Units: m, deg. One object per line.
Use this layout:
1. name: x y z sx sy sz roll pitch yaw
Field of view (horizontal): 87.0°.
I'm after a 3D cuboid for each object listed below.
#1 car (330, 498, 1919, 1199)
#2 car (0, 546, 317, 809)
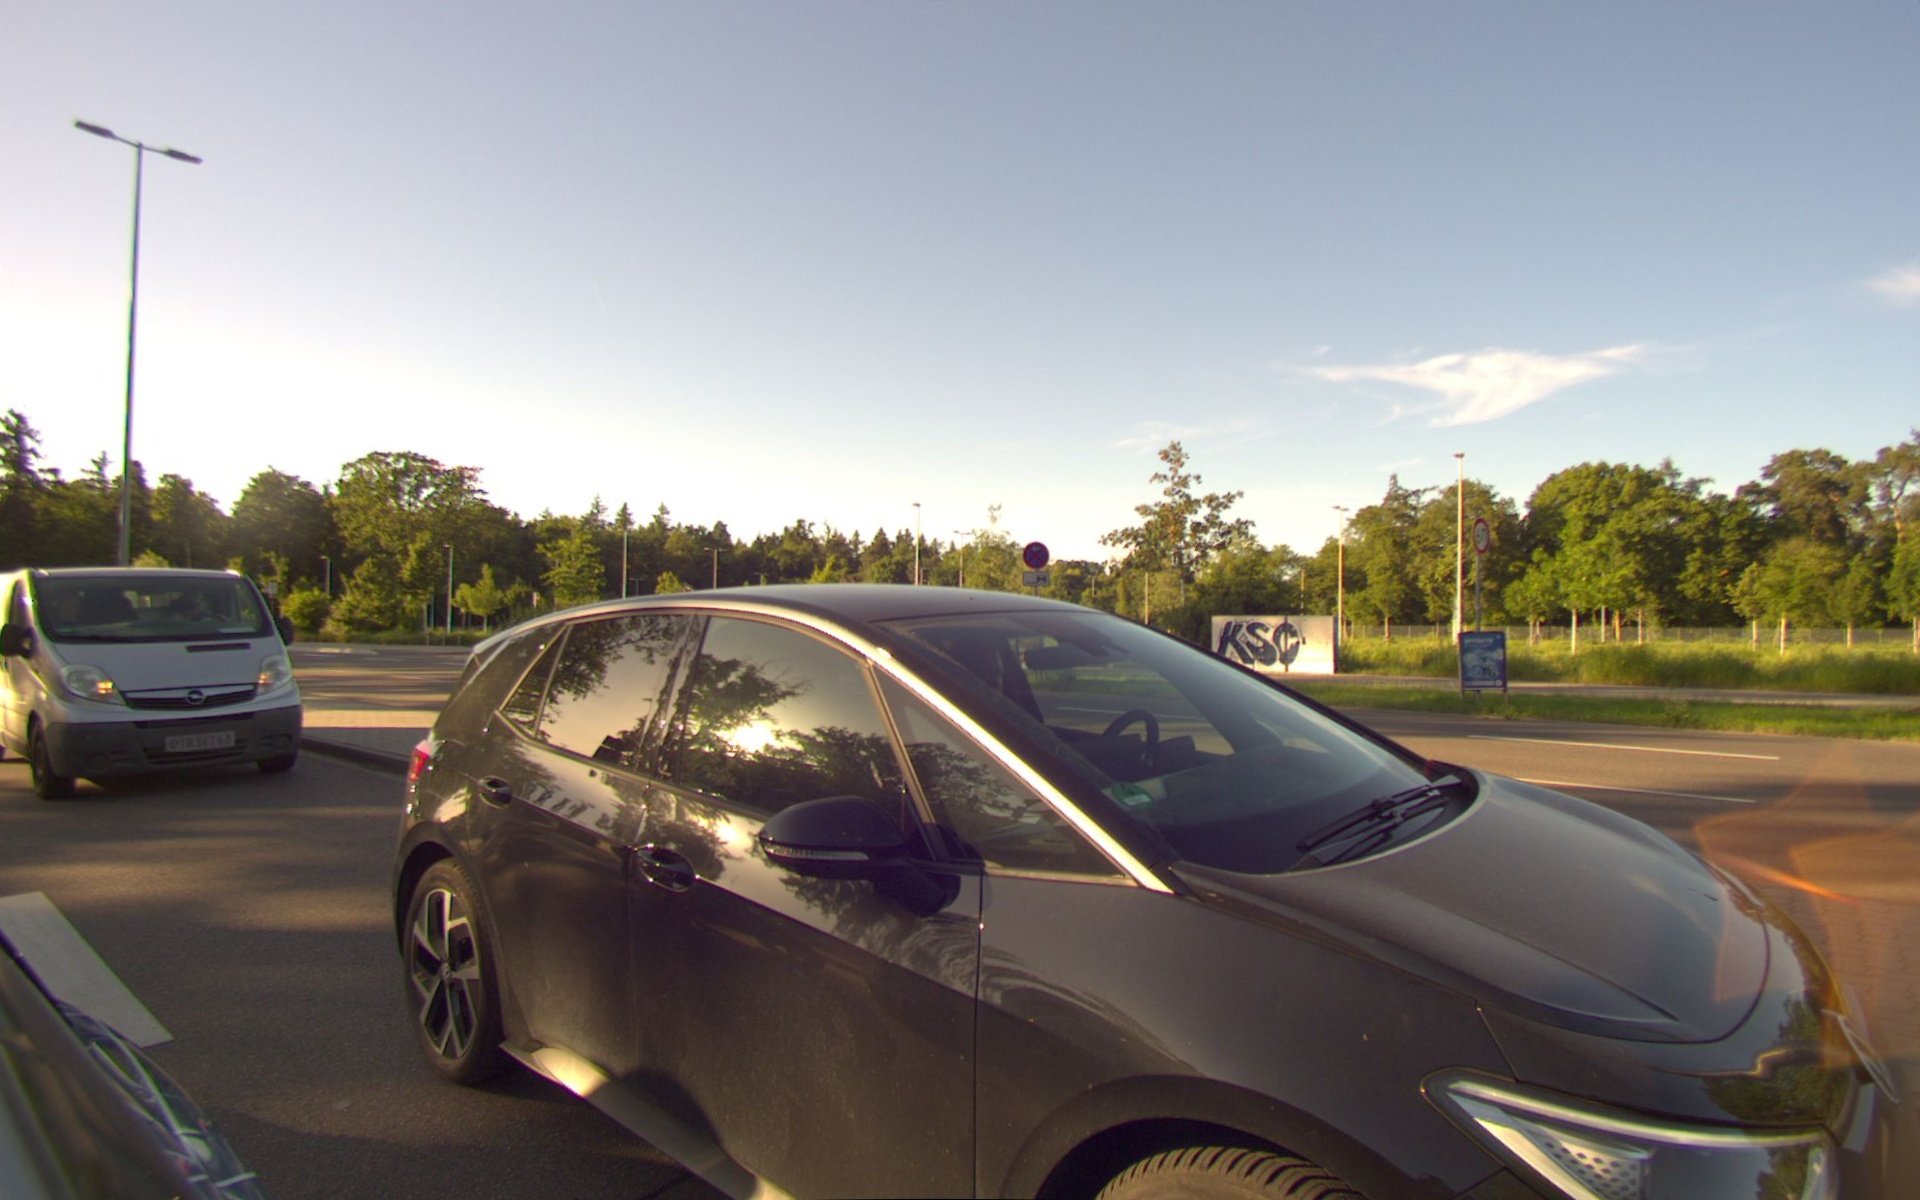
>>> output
1. car: 0.004 0.695 2.824 3.997 1.548 1.859 -1 0 40
2. car: -8.262 0.634 9.940 5.045 1.977 1.859 -2 -1 40
